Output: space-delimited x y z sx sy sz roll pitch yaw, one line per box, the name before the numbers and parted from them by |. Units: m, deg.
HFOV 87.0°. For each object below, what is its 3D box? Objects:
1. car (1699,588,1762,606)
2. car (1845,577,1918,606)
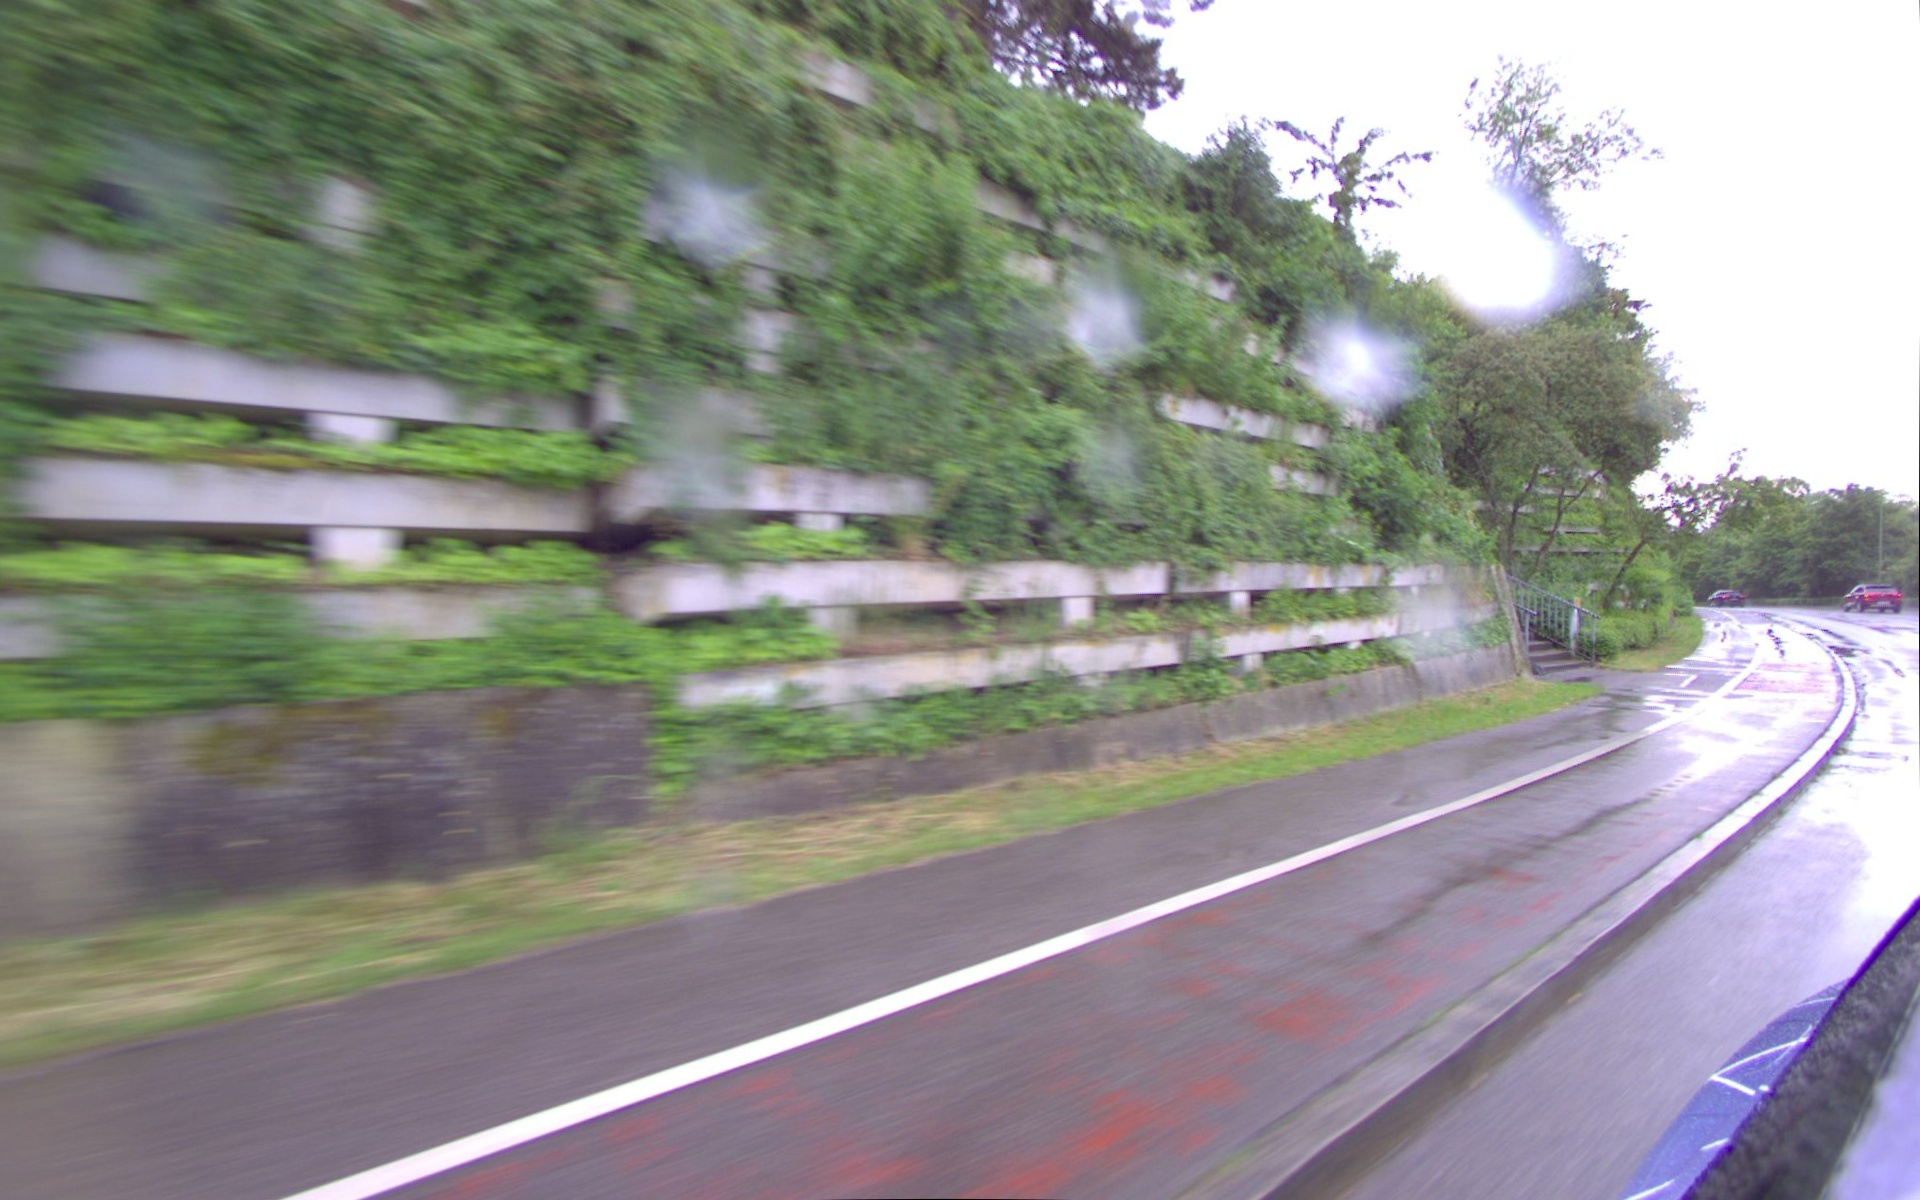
car | 65.295 -0.242 85.830 1.695 1.480 4.546 0 0 -3
car | 50.991 -0.455 56.071 1.740 1.555 3.969 0 0 23
